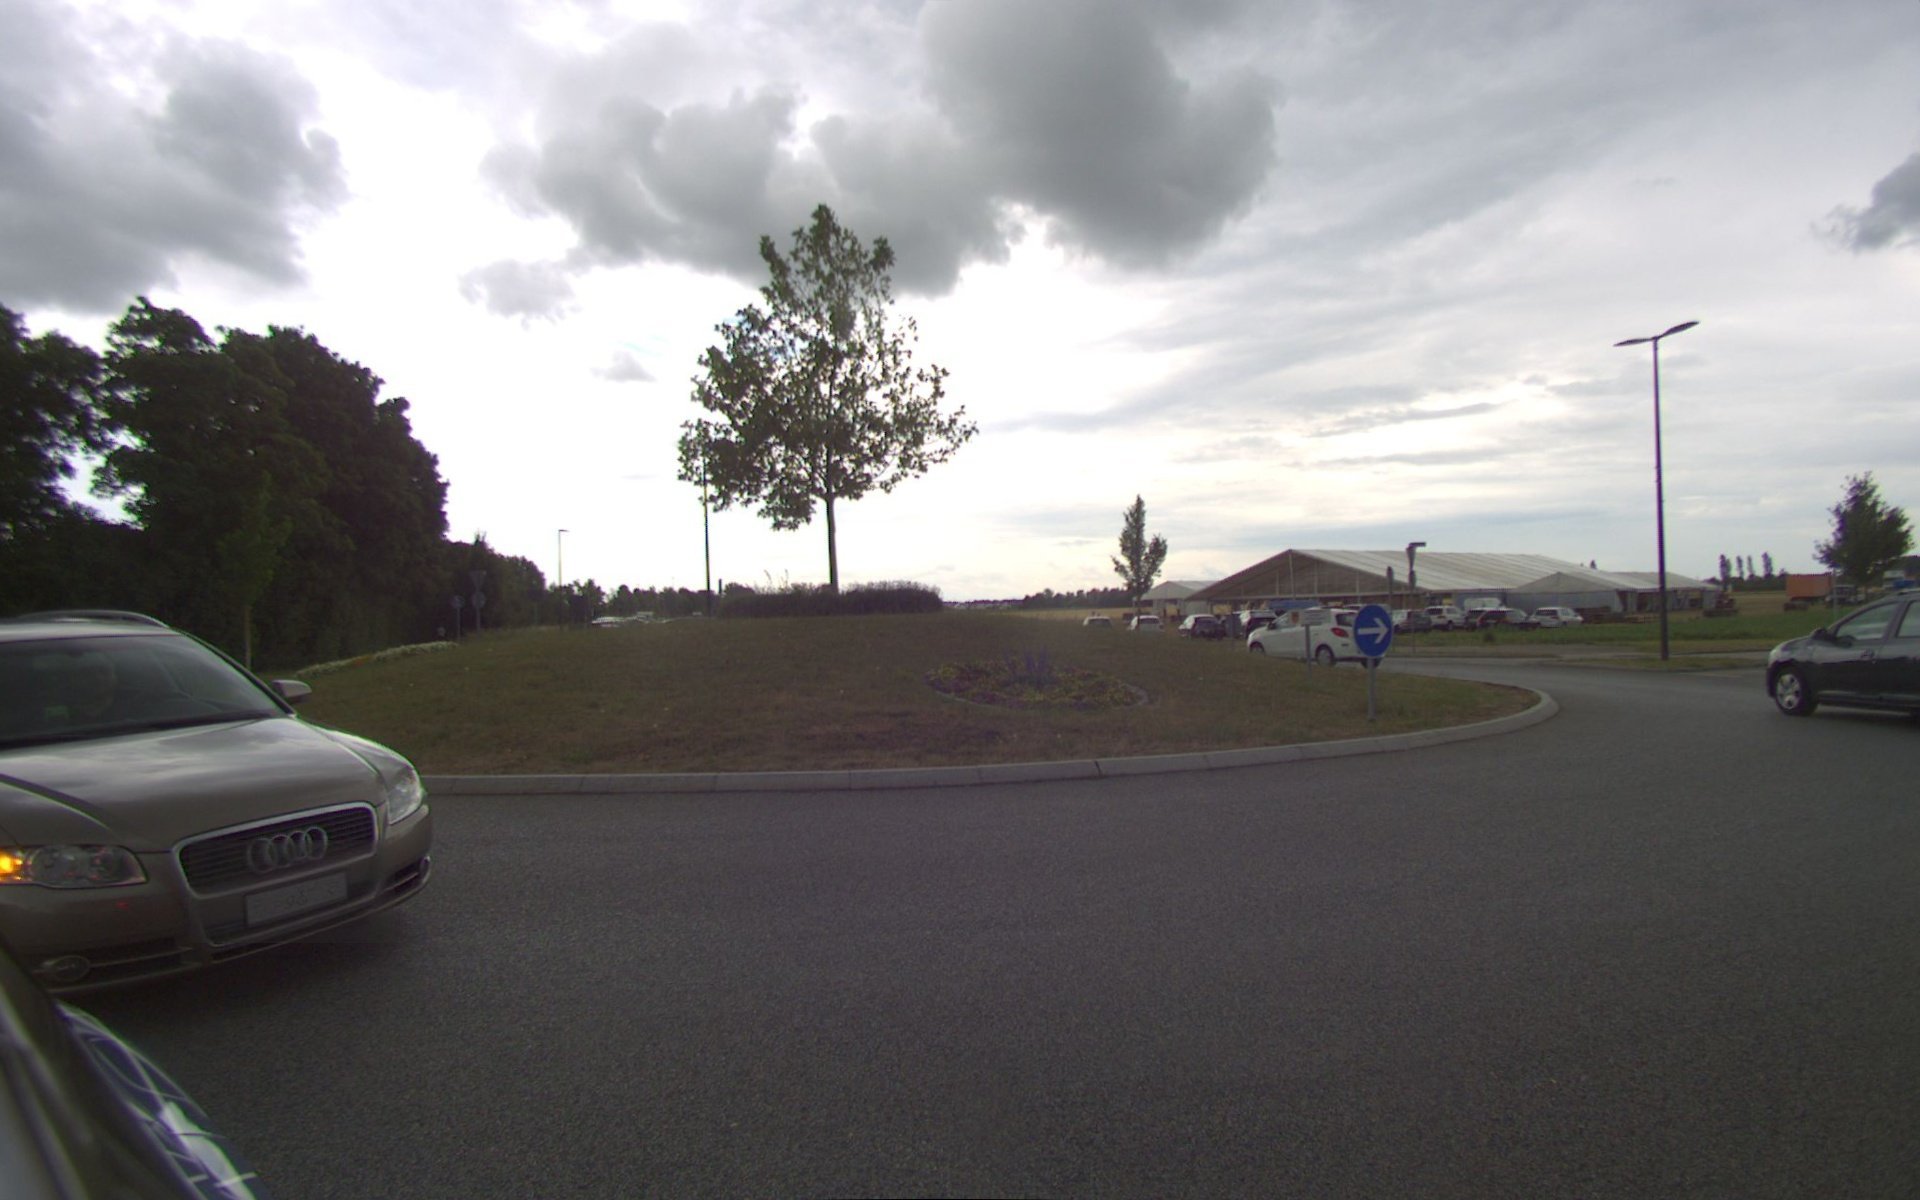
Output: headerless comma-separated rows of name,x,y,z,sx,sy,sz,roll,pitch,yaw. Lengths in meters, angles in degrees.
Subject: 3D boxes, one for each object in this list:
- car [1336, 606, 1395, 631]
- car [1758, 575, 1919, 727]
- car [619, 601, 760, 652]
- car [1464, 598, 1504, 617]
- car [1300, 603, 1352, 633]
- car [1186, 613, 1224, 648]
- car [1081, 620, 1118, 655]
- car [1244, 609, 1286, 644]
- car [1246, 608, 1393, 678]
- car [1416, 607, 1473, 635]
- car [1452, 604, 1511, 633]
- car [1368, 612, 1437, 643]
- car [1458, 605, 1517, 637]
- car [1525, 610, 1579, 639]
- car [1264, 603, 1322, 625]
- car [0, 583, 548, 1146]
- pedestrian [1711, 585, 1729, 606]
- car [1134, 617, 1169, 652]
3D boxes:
car,26.532,1.190,66.115,3.938,1.453,1.954,-1,-2,-41
car,10.880,0.525,10.733,1.752,1.575,4.270,-1,-1,7
car,-8.550,0.828,32.008,4.012,1.441,1.769,-1,-1,-27
car,47.052,0.659,90.849,3.769,1.619,1.838,-1,-1,-40
car,19.450,0.949,53.945,1.931,1.453,3.986,-2,-1,11
car,13.066,1.628,54.183,1.698,1.564,3.986,-4,0,11
car,7.575,2.021,54.722,1.698,1.564,3.986,-4,0,11
car,16.356,1.389,54.395,1.698,1.564,3.986,-4,0,11
car,9.012,1.015,25.608,1.605,1.530,3.411,-4,1,-21
car,30.352,1.316,63.377,3.769,1.619,1.838,-1,-1,-40
car,31.639,1.101,61.354,3.769,1.619,1.838,-1,-1,-40
car,24.614,1.520,56.431,1.707,1.619,3.882,-2,-1,-8
car,28.849,1.127,55.468,1.617,1.619,3.865,-2,-1,9
car,34.445,1.416,58.889,3.941,1.565,1.733,-1,-1,-45
car,24.049,1.024,73.023,3.933,1.453,1.957,-2,-1,-33
car,-4.163,0.759,4.577,4.520,1.476,1.766,-2,1,29
pedestrian,76.003,-0.417,101.219,1.043,2.029,1.054,-1,-1,-36
car,10.303,1.826,54.475,1.698,1.564,3.986,-4,0,11
